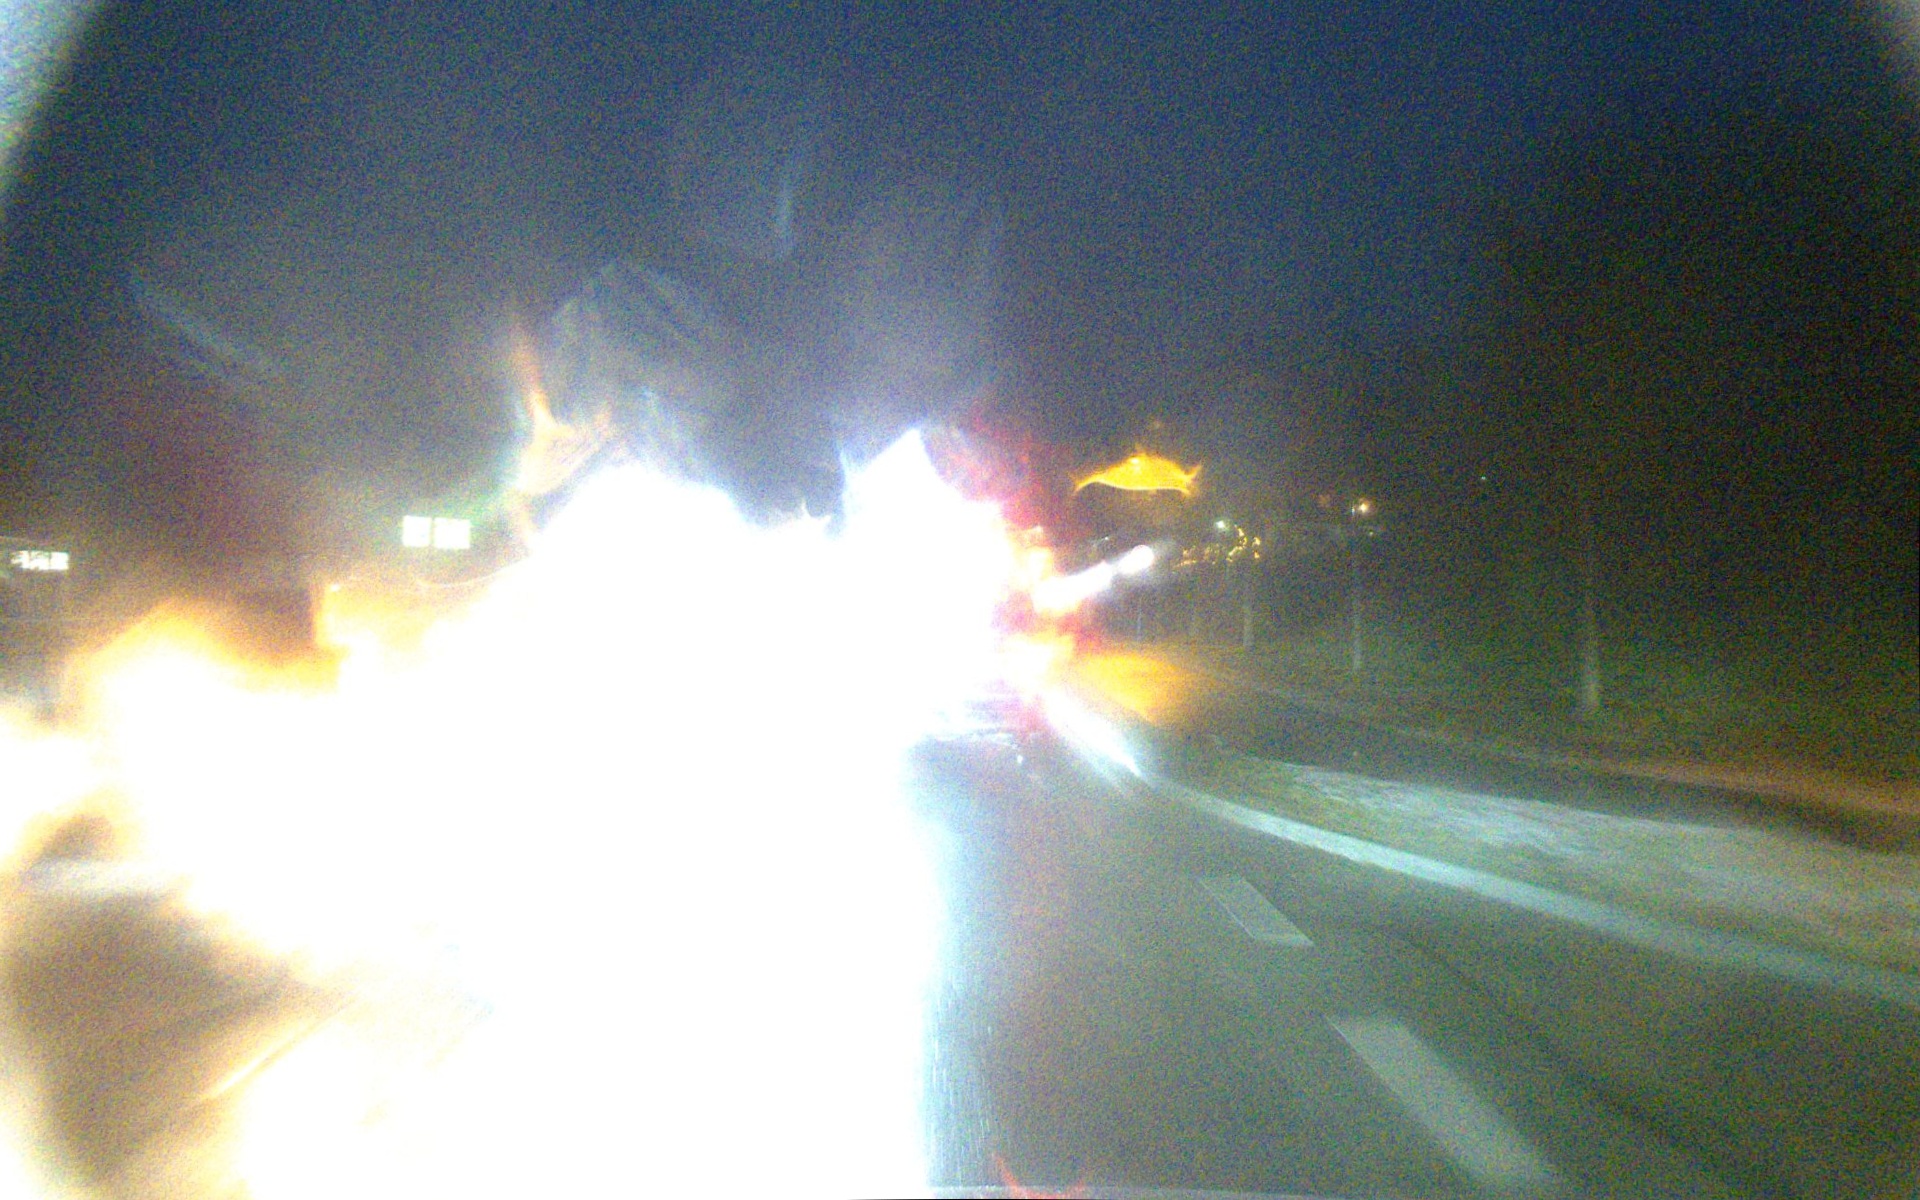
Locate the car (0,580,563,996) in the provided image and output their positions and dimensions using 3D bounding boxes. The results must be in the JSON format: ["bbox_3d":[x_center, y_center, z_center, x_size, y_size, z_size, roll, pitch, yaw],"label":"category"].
[{"bbox_3d":[-3.116,0.668,7.913,1.589,1.498,3.883,0,0,-2],"label":"car"}]

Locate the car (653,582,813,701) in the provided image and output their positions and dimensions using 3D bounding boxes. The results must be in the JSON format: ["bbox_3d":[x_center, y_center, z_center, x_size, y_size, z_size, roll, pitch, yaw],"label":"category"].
[{"bbox_3d":[-3.292,0.547,24.788,1.806,1.602,4.596,0,0,-1],"label":"car"}]

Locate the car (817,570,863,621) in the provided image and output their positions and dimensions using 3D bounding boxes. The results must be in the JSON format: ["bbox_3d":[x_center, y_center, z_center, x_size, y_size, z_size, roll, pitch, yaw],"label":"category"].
[{"bbox_3d":[-6.782,-0.255,94.129,2.079,2.755,6.240,1,0,0],"label":"car"}]

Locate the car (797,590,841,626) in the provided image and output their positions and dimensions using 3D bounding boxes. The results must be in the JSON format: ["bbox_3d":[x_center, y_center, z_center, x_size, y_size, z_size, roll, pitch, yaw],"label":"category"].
[{"bbox_3d":[-6.584,0.353,77.474,1.685,1.616,4.312,1,0,0],"label":"car"}]

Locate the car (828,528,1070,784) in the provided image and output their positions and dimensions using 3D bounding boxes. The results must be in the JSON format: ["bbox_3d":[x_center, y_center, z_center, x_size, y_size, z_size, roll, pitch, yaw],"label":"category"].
[{"bbox_3d":[-0.134,0.433,15.233,1.903,2.006,4.217,1,0,-1],"label":"car"}]

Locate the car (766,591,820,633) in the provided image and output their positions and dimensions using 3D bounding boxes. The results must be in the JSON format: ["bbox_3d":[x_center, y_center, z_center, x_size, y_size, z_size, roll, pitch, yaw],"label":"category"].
[{"bbox_3d":[-6.414,0.448,63.844,1.685,1.534,3.827,1,0,0],"label":"car"}]

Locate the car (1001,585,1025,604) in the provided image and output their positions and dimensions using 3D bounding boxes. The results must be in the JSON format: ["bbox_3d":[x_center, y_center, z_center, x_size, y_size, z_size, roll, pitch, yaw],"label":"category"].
[{"bbox_3d":[4.346,-0.409,135.461,1.628,1.475,4.052,0,-1,6],"label":"car"}]

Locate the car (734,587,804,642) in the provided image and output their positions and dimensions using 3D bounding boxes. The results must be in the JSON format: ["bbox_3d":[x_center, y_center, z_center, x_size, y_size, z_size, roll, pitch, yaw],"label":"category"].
[{"bbox_3d":[-6.025,0.443,52.558,1.768,1.658,4.414,1,0,-1],"label":"car"}]

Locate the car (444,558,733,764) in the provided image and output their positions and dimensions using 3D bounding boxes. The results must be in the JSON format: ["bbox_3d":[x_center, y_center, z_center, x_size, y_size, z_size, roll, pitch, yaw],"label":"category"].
[{"bbox_3d":[-3.389,0.494,15.952,1.806,1.698,4.445,0,0,-1],"label":"car"}]
